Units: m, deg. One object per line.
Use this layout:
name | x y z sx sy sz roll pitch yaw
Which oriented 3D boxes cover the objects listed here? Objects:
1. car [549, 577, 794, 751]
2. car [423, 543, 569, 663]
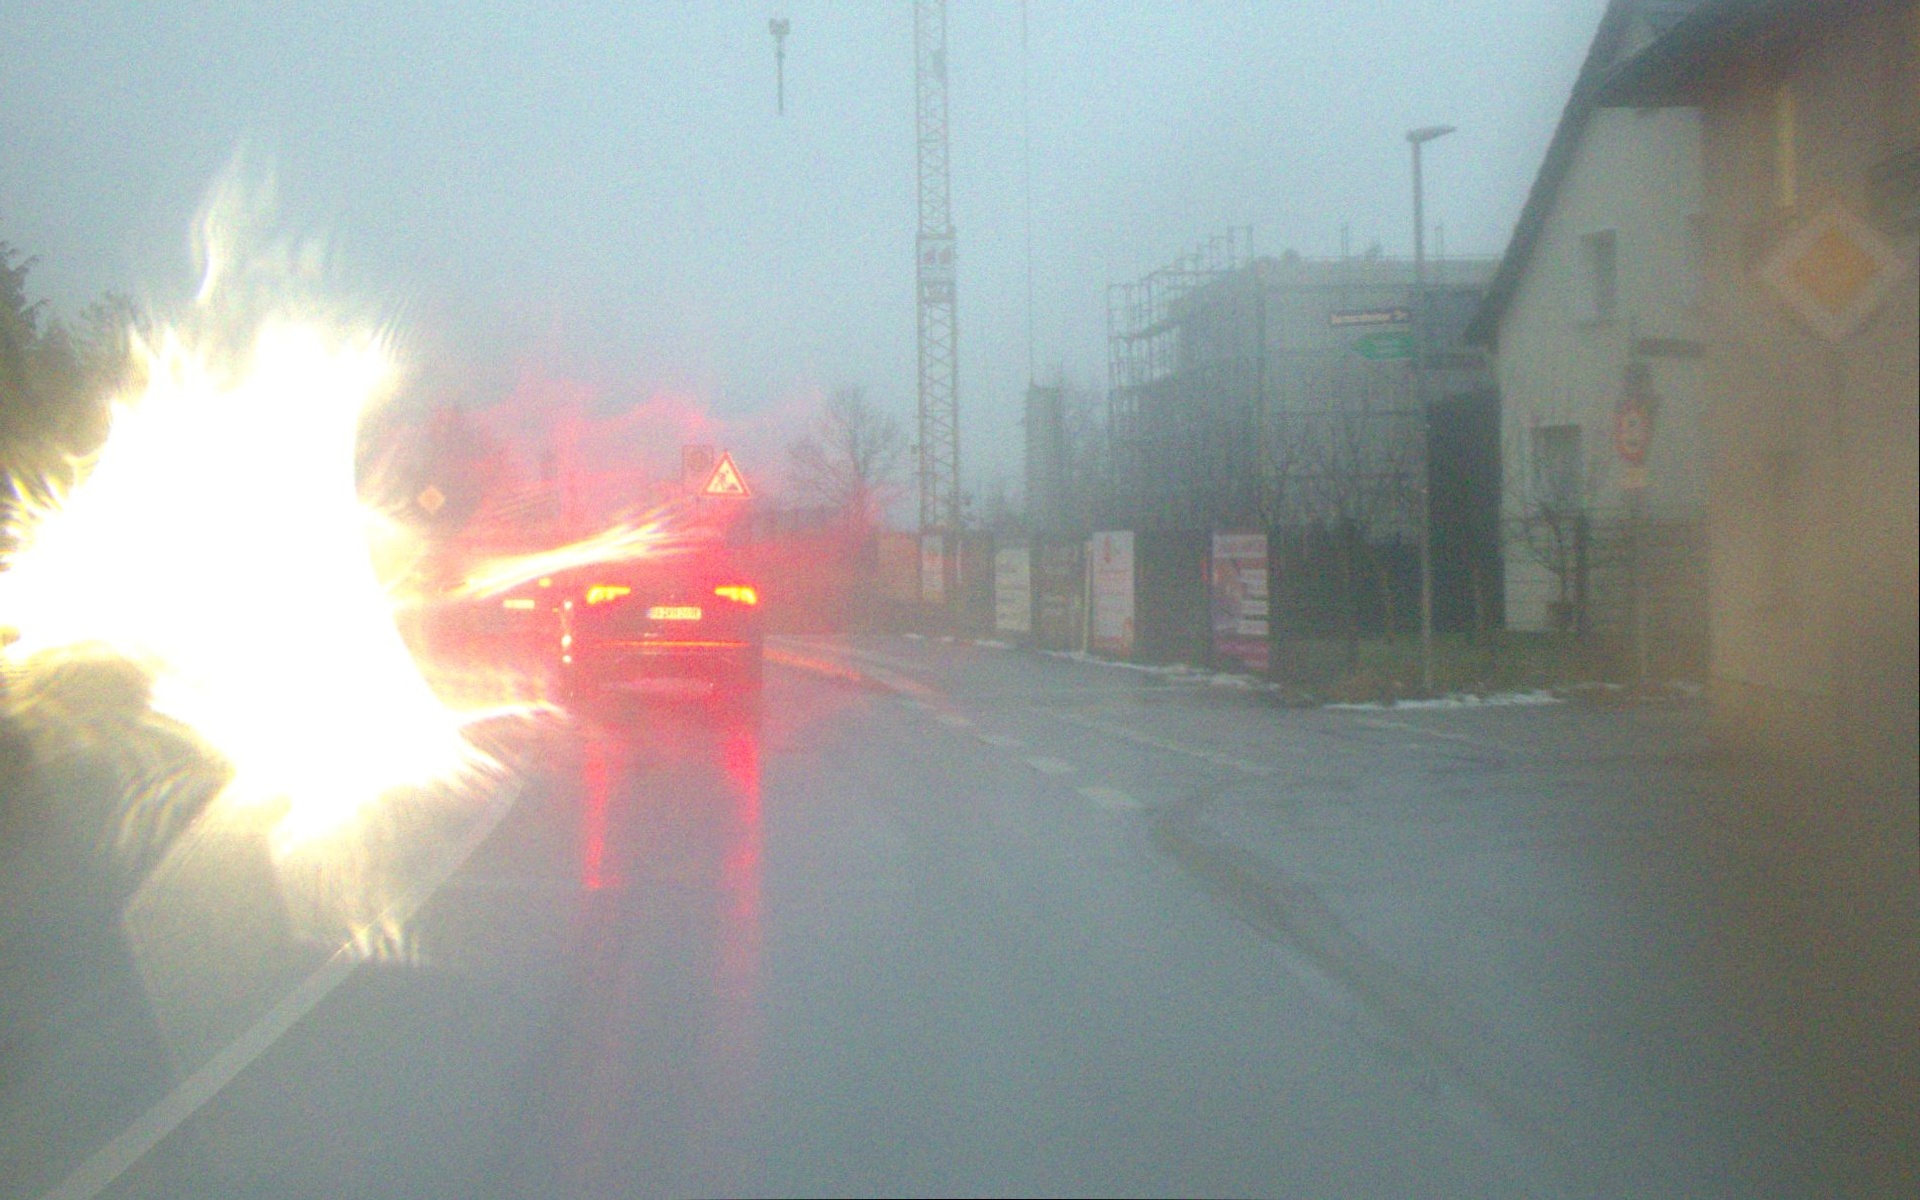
car | -2.950 0.593 34.205 2.046 1.567 4.704 -1 0 -9
car | -7.796 0.016 57.519 1.993 1.875 4.001 -2 1 -13
